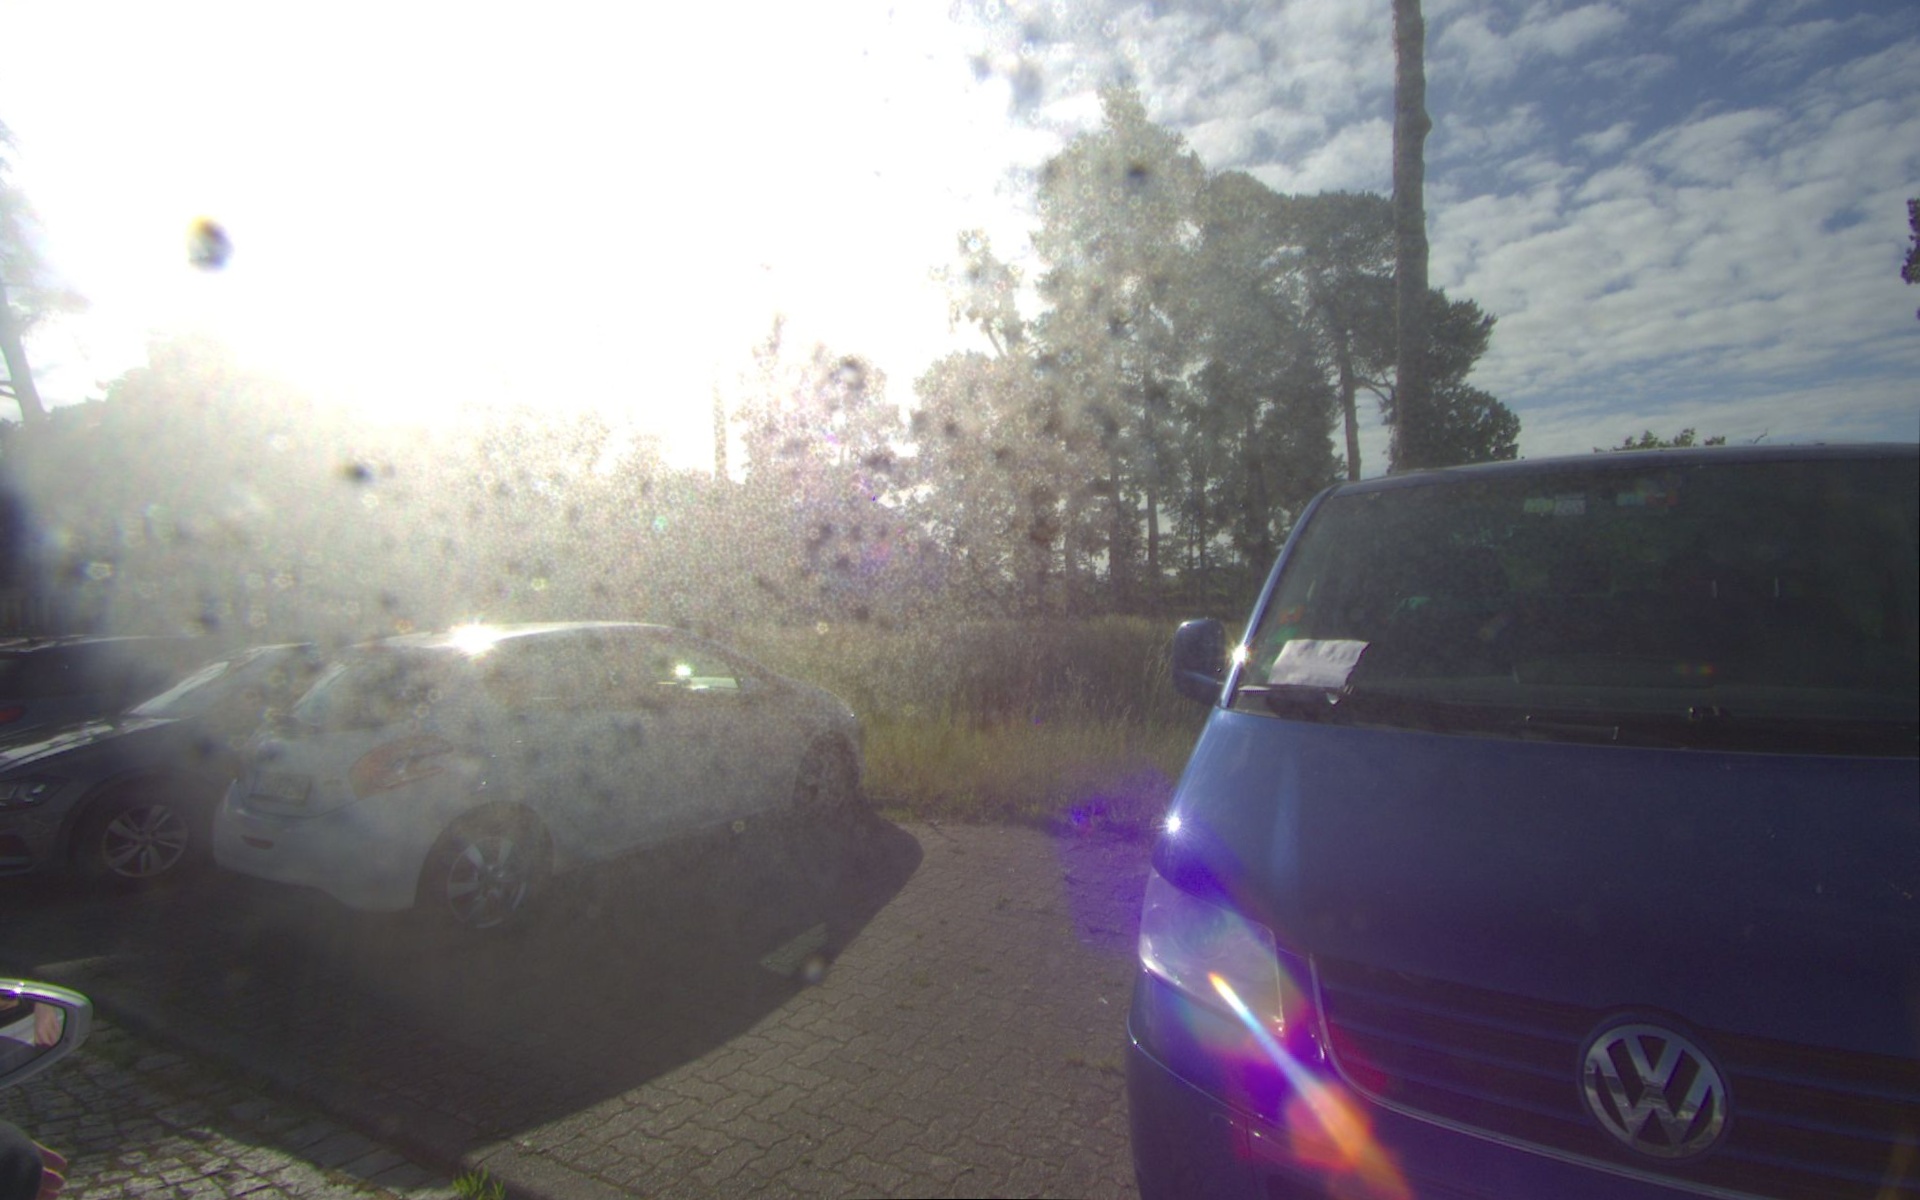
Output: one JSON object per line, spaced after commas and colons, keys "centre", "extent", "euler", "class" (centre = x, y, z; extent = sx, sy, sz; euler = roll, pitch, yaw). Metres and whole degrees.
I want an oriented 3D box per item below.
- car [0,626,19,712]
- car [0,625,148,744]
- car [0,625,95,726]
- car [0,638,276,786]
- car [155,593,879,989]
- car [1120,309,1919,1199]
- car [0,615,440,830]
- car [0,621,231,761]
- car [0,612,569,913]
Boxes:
{"centre": [-17.656, 1.215, 15.733], "extent": [1.613, 1.434, 3.873], "euler": [-1, 1, 31], "class": "car"}
{"centre": [-13.254, 1.131, 12.547], "extent": [1.755, 1.434, 4.422], "euler": [-1, 1, 31], "class": "car"}
{"centre": [-15.421, 1.178, 14.136], "extent": [1.613, 1.434, 4.549], "euler": [-1, 1, 31], "class": "car"}
{"centre": [-9.483, 1.124, 10.245], "extent": [1.721, 1.240, 3.699], "euler": [-1, 1, 32], "class": "car"}
{"centre": [-2.306, 0.786, 6.141], "extent": [1.735, 1.555, 3.699], "euler": [-1, 1, 32], "class": "car"}
{"centre": [2.425, 0.472, 3.818], "extent": [1.971, 1.961, 4.689], "euler": [-1, 1, 31], "class": "car"}
{"centre": [-7.106, 0.950, 9.227], "extent": [1.790, 1.468, 3.699], "euler": [-1, 1, 31], "class": "car"}
{"centre": [-11.303, 1.071, 11.744], "extent": [1.613, 1.468, 4.118], "euler": [-1, 1, 31], "class": "car"}
{"centre": [-5.009, 0.899, 7.230], "extent": [1.829, 1.468, 3.699], "euler": [-1, 1, 32], "class": "car"}
